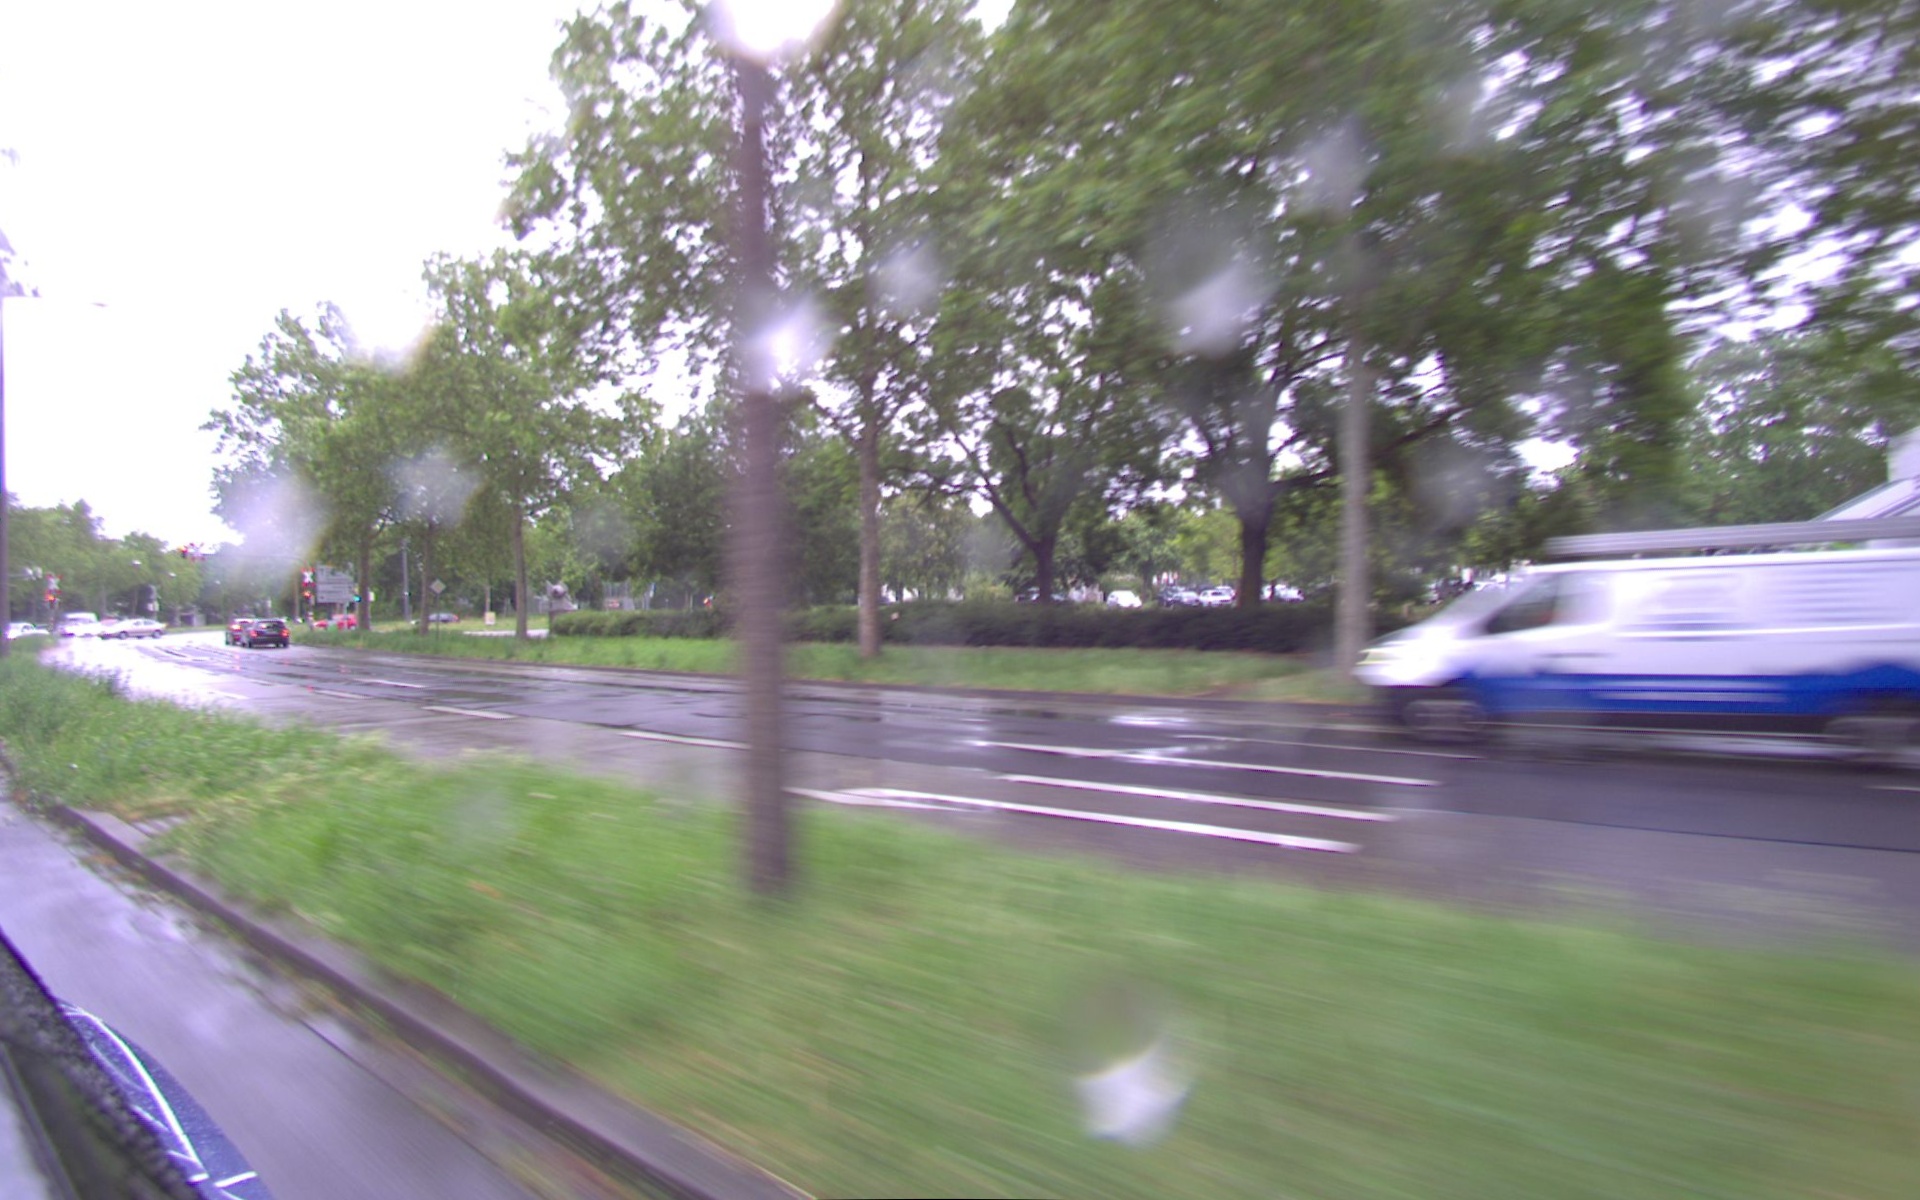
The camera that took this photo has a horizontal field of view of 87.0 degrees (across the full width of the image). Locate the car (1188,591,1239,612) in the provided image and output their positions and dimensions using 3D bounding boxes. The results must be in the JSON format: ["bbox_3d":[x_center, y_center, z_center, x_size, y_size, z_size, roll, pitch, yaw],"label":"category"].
[{"bbox_3d":[19.507,0.131,77.989,1.967,1.549,4.510,-2,0,-12],"label":"car"}]

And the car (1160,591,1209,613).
[{"bbox_3d":[17.236,0.143,77.925,1.967,1.549,4.510,-2,0,-12],"label":"car"}]

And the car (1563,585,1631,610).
[{"bbox_3d":[50.526,-0.201,80.377,1.967,1.916,4.510,-2,0,-12],"label":"car"}]

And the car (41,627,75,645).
[{"bbox_3d":[-88.631,3.509,99.450,1.967,1.642,4.533,-2,0,-35],"label":"car"}]

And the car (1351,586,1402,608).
[{"bbox_3d":[37.227,-0.266,90.538,1.967,1.916,4.510,-2,0,-12],"label":"car"}]

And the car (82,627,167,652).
[{"bbox_3d":[-61.855,2.915,75.031,1.983,1.642,4.477,-1,0,18],"label":"car"}]

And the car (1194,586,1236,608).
[{"bbox_3d":[24.172,-0.268,96.063,1.967,1.916,4.510,-2,0,-12],"label":"car"}]

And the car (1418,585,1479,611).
[{"bbox_3d":[38.313,-0.164,79.483,1.967,1.916,4.510,-2,0,-12],"label":"car"}]

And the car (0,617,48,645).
[{"bbox_3d":[-59.056,1.941,62.906,1.965,1.642,4.536,-2,0,-21],"label":"car"}]

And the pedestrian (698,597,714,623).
[{"bbox_3d":[-20.414,0.825,81.270,0.885,2.029,1.021,-1,0,-38],"label":"pedestrian"}]

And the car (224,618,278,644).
[{"bbox_3d":[-40.866,1.759,58.293,1.970,1.384,4.336,-2,0,-43],"label":"car"}]

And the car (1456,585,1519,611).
[{"bbox_3d":[41.620,-0.173,79.995,1.967,1.916,4.510,-2,0,-12],"label":"car"}]

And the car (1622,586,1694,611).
[{"bbox_3d":[55.047,-0.111,79.871,1.967,1.916,4.510,-2,0,-12],"label":"car"}]

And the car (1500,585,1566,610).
[{"bbox_3d":[45.109,-0.181,79.796,2.079,1.916,4.507,-2,0,-9],"label":"car"}]

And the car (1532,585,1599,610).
[{"bbox_3d":[48.025,-0.195,80.386,1.967,1.916,4.510,-2,0,-12],"label":"car"}]

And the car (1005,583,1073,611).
[{"bbox_3d":[6.650,-0.219,85.474,5.329,2.190,2.004,-2,0,-10],"label":"car"}]

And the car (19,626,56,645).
[{"bbox_3d":[-85.177,3.250,93.448,1.967,1.642,4.533,-2,0,-36],"label":"car"}]

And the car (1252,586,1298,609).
[{"bbox_3d":[28.146,-0.226,90.551,1.967,1.916,4.510,-2,0,-12],"label":"car"}]

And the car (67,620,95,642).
[{"bbox_3d":[-92.455,3.226,106.482,1.968,2.124,5.152,-2,0,-39],"label":"car"}]

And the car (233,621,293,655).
[{"bbox_3d":[-35.979,1.918,52.205,1.970,1.643,4.336,-2,0,-43],"label":"car"}]

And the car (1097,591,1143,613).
[{"bbox_3d":[12.215,0.167,77.620,1.967,1.549,4.510,-2,0,-12],"label":"car"}]

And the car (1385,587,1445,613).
[{"bbox_3d":[35.722,-0.005,79.531,1.967,1.916,4.510,-2,0,-12],"label":"car"}]

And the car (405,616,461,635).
[{"bbox_3d":[-49.047,2.361,94.304,4.443,1.642,2.007,-2,0,-25],"label":"car"}]

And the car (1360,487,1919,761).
[{"bbox_3d":[7.127,0.227,10.141,5.427,2.243,2.011,-2,-1,38],"label":"car"}]

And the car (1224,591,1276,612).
[{"bbox_3d":[22.250,0.124,77.847,1.967,1.549,4.510,-2,0,-12],"label":"car"}]

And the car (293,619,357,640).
[{"bbox_3d":[-55.207,2.518,88.063,4.443,1.642,2.007,-2,0,-25],"label":"car"}]

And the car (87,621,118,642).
[{"bbox_3d":[-85.770,3.123,101.307,1.967,1.901,4.533,-2,0,-36],"label":"car"}]

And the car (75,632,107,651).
[{"bbox_3d":[-81.998,3.924,95.542,1.968,1.642,4.531,-2,0,-37],"label":"car"}]
